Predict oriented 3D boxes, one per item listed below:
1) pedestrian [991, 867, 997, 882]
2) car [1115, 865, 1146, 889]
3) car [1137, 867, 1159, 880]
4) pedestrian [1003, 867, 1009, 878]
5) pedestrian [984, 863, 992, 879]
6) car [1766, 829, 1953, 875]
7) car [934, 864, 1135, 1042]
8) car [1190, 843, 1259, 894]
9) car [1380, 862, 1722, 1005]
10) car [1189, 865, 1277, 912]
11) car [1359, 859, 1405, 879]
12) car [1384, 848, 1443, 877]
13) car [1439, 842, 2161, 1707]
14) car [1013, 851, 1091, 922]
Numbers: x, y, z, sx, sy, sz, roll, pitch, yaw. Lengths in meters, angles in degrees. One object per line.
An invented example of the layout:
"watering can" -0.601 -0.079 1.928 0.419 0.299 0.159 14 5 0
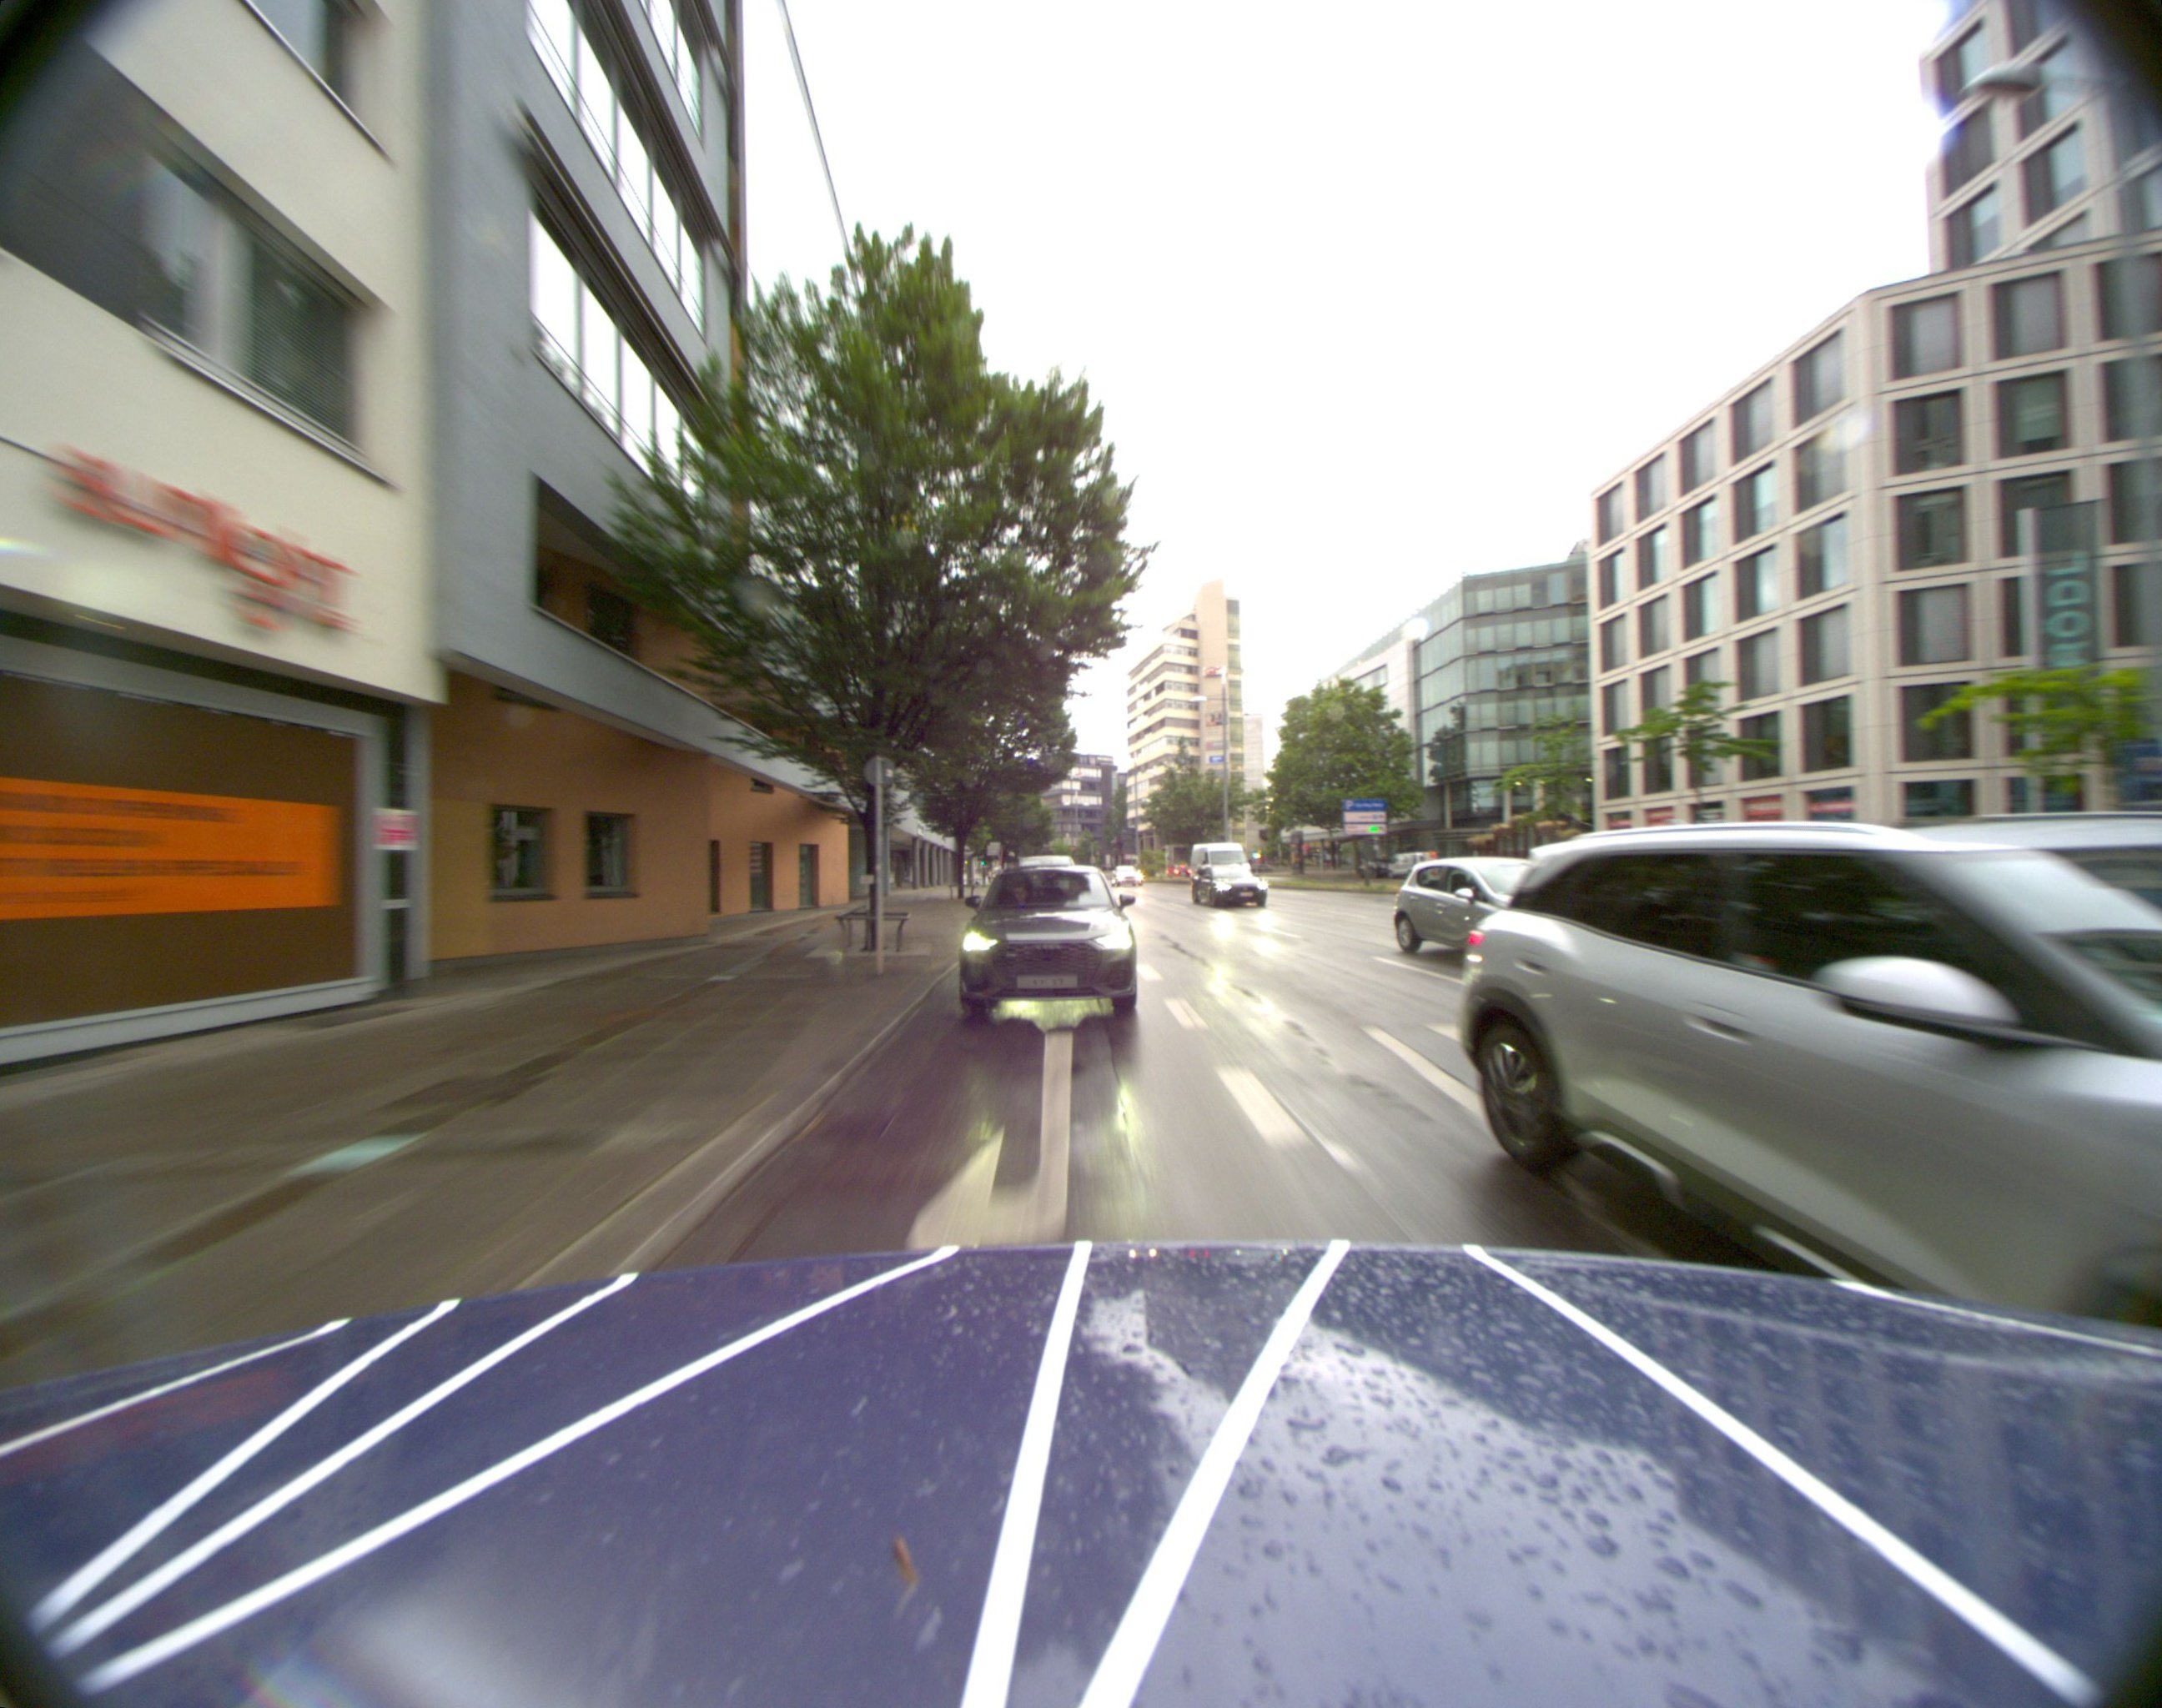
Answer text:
"pedestrian" -10.332 2.445 89.994 0.641 1.771 0.880 -2 -1 -4
"car" 3.397 1.580 52.913 1.784 1.499 3.999 -2 0 -1
"car" 9.207 2.661 104.757 1.831 1.622 4.871 -2 0 -9
"pedestrian" -11.277 2.808 114.080 0.654 1.588 1.058 -2 1 -10
"pedestrian" -10.903 1.971 88.927 0.794 1.771 0.894 -2 -1 -7
"car" 26.139 -0.042 25.752 1.702 1.415 4.372 0 0 -3
"car" -0.285 0.966 9.294 1.801 1.543 4.389 -2 0 5
"car" 7.234 0.678 38.946 2.259 2.371 5.718 -2 0 -1
"car" 6.003 0.885 10.407 1.775 1.470 4.125 -2 0 -7
"car" 5.236 1.161 26.770 1.905 1.393 4.239 -2 0 -5
"car" 24.722 1.177 62.619 1.803 1.520 4.285 -2 0 -4
"car" 25.125 0.622 57.577 1.999 2.002 4.914 -2 0 -4
"car" 2.880 0.813 2.147 1.812 1.651 4.171 -2 0 1
"car" -1.007 0.885 23.262 2.060 1.881 5.046 -2 0 -5
